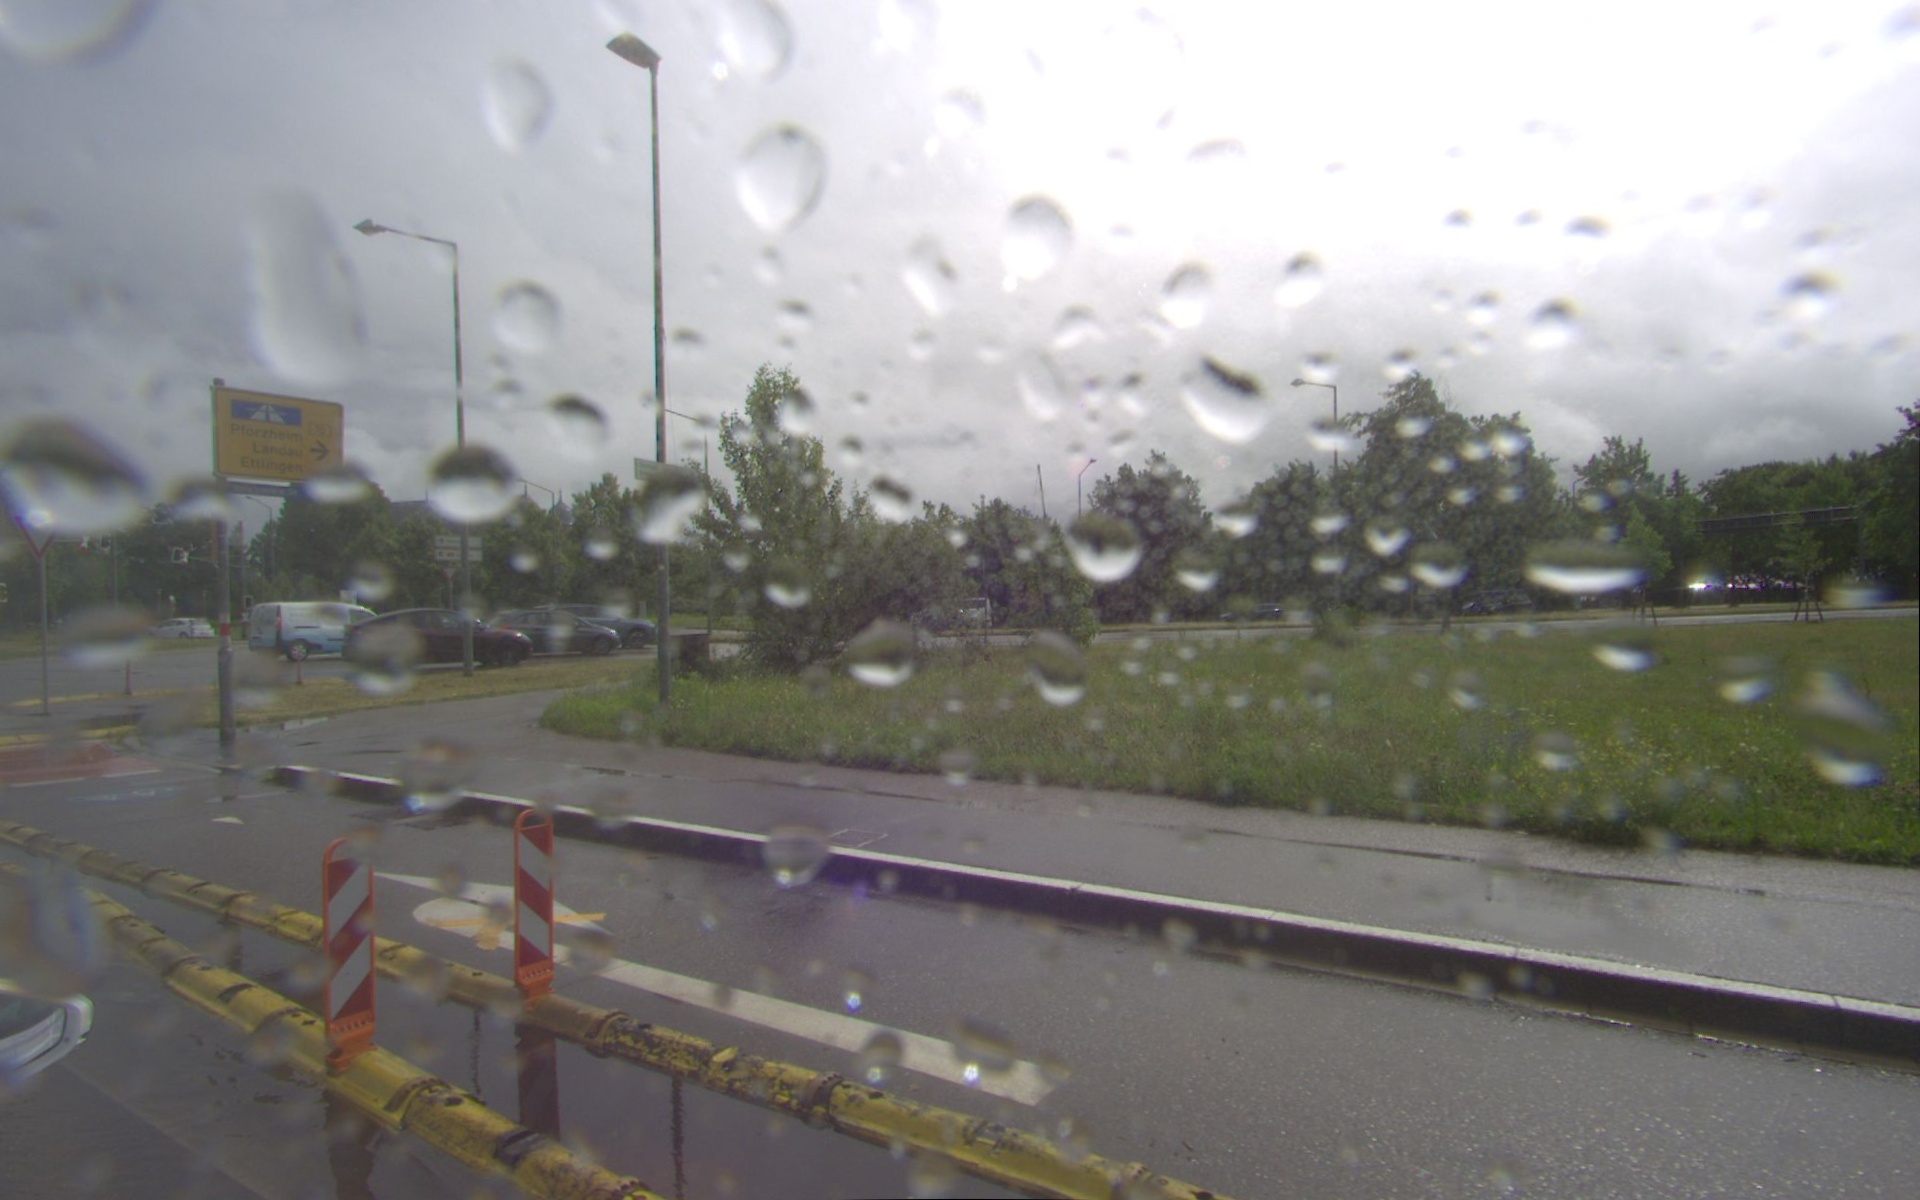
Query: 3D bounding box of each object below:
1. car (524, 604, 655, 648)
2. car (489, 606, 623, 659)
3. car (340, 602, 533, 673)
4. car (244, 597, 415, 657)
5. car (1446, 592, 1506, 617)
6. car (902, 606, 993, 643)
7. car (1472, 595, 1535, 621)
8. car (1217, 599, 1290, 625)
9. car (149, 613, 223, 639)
[{"bbox_3d":[-14.005,0.960,37.948,4.348,1.568,1.857,0,0,-36],"label":"car"},{"bbox_3d":[-13.552,1.053,33.694,3.906,1.666,1.659,0,0,-37],"label":"car"},{"bbox_3d":[-14.208,0.956,27.325,4.310,1.748,1.982,-1,0,-42],"label":"car"},{"bbox_3d":[-20.461,0.839,32.698,1.841,1.833,4.386,-1,0,28],"label":"car"},{"bbox_3d":[34.669,0.284,67.289,3.459,1.580,1.541,-1,0,-14],"label":"car"},{"bbox_3d":[-0.734,1.389,57.882,4.872,1.944,1.997,-1,0,-16],"label":"car"},{"bbox_3d":[35.013,0.506,64.519,3.459,1.580,1.541,-1,0,-14],"label":"car"},{"bbox_3d":[18.406,0.747,62.805,4.157,1.580,1.541,-1,0,-14],"label":"car"},{"bbox_3d":[-48.526,1.625,62.801,3.521,1.568,1.733,-1,0,8],"label":"car"}]
